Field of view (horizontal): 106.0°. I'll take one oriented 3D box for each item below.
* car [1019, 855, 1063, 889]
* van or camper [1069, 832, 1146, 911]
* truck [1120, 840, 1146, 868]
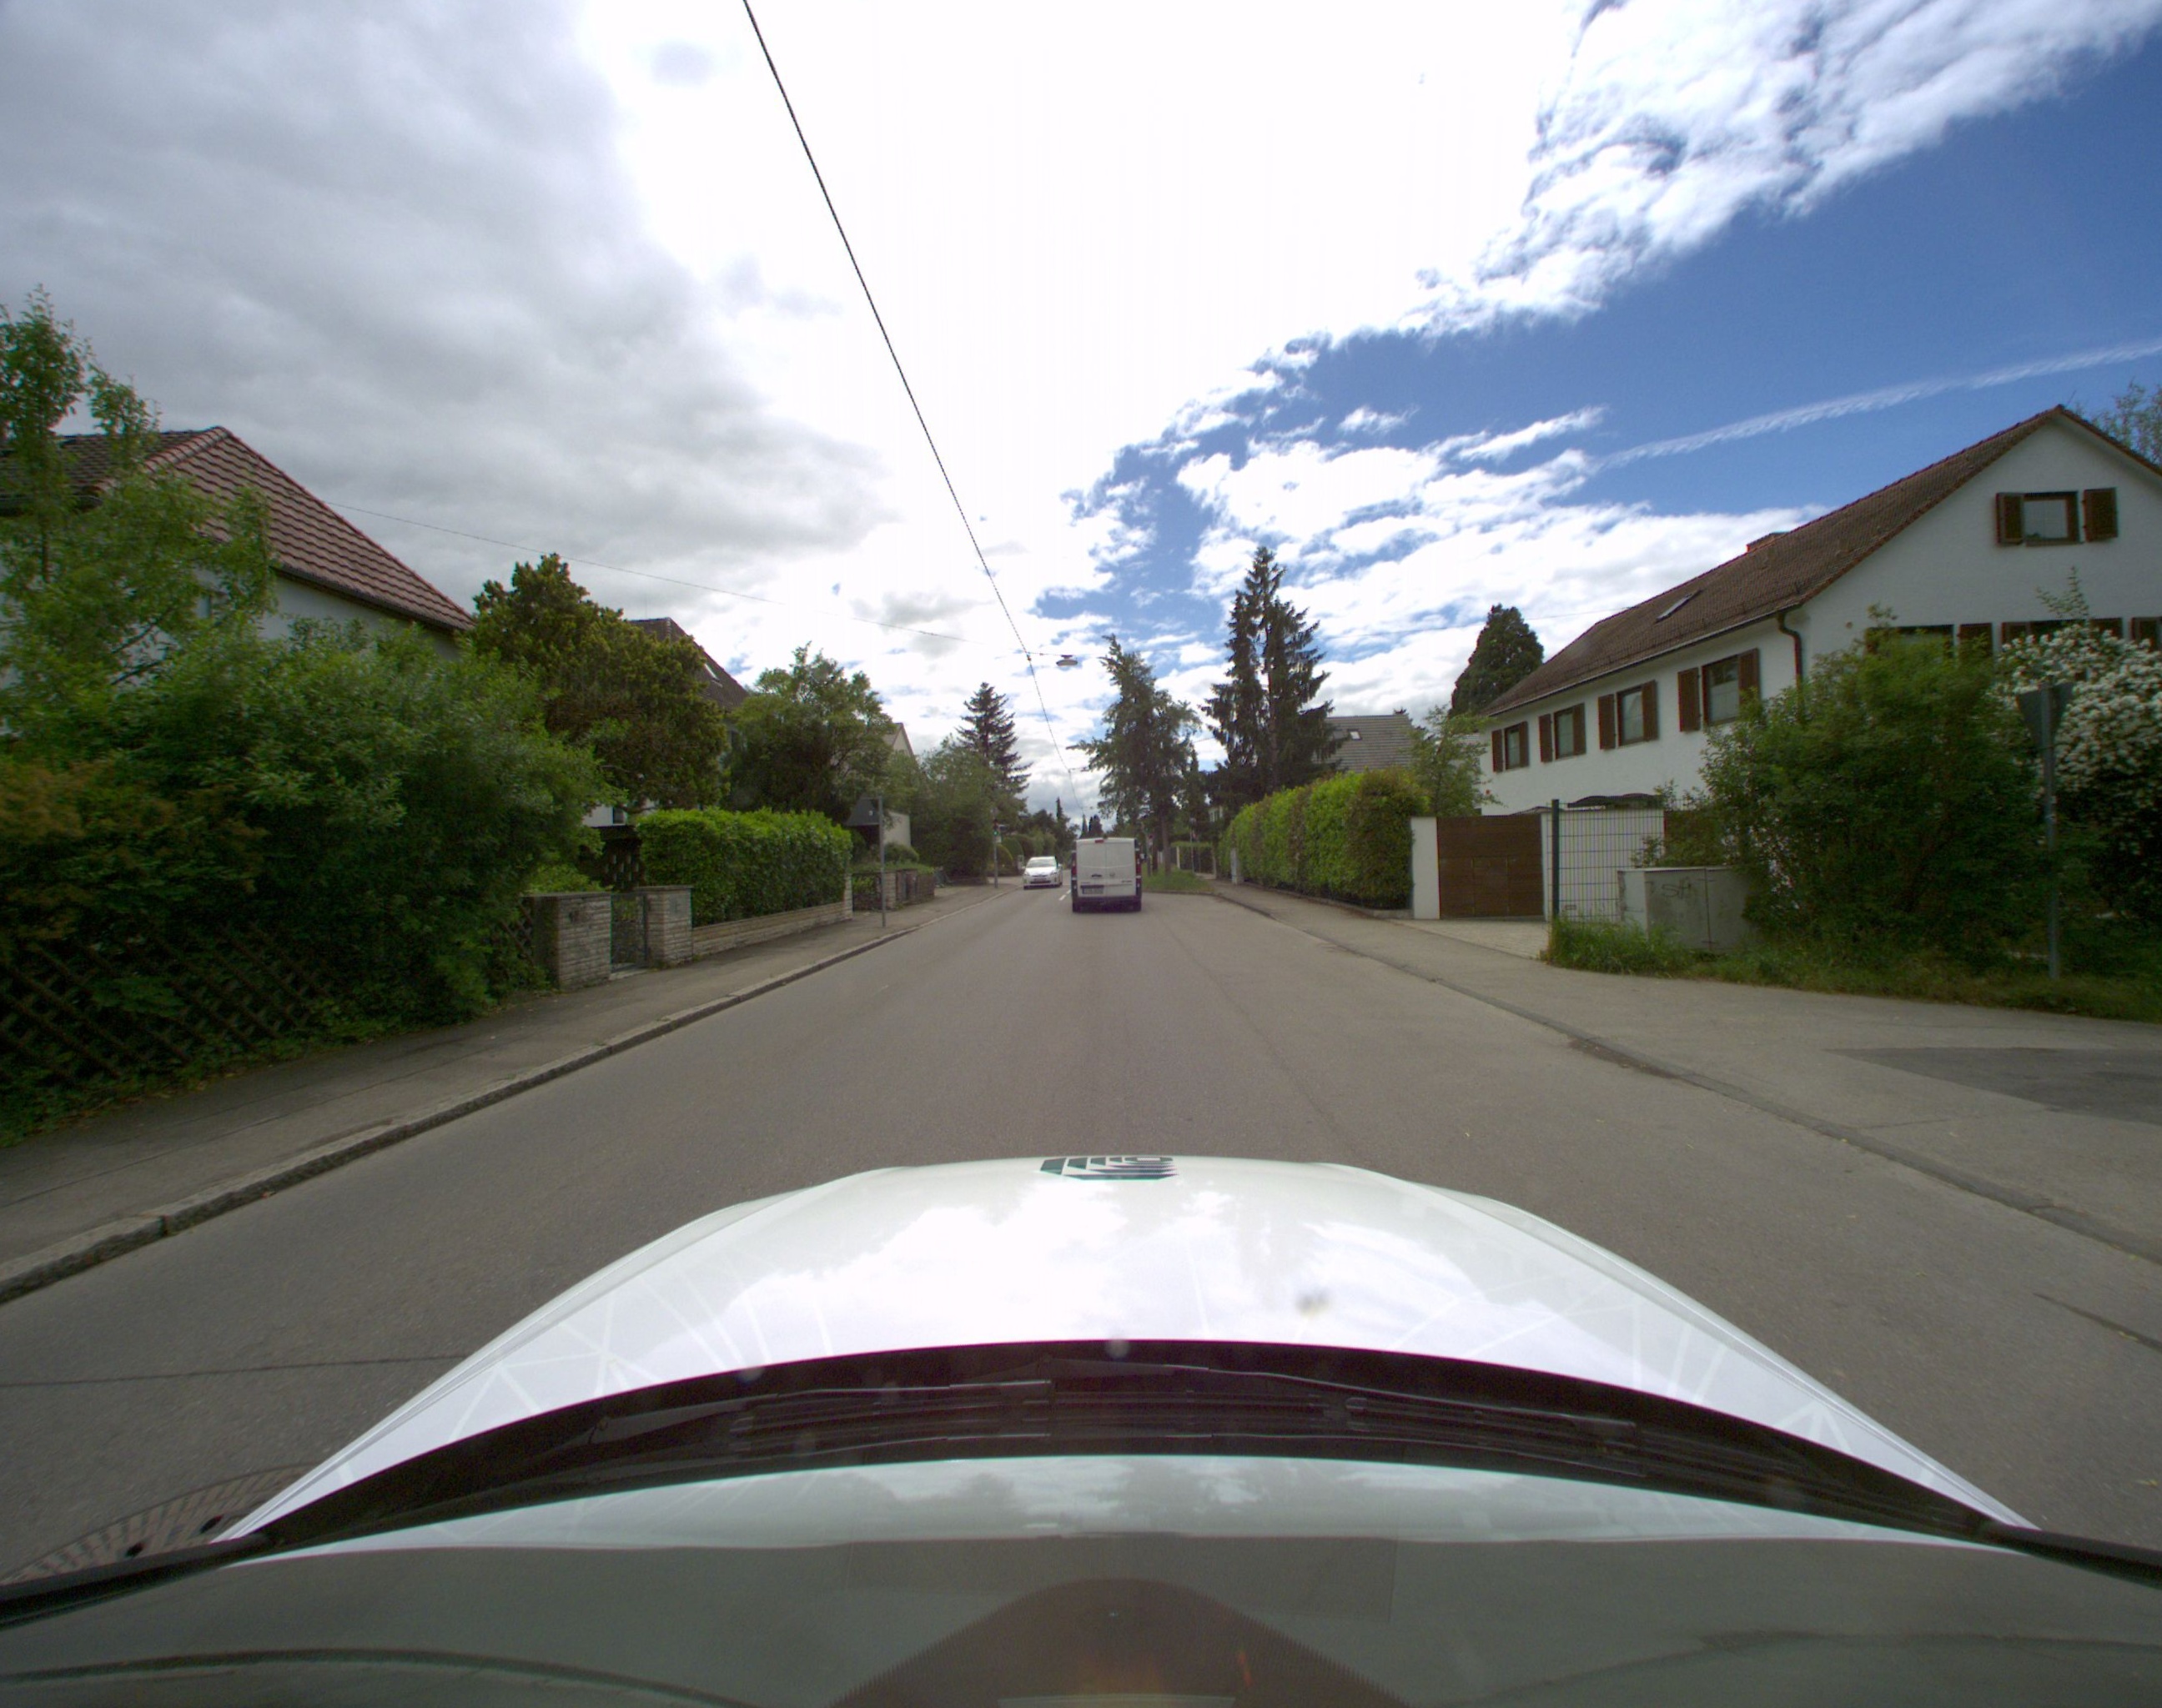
[{"bbox_3d":[-1.902,0.836,40.064,1.848,1.451,4.281,-4,0,0],"label":"car"},{"bbox_3d":[0.720,0.505,23.030,1.932,1.954,4.765,-1,-1,1],"label":"van or camper"},{"bbox_3d":[4.787,0.000,76.091,2.179,2.472,7.433,-1,0,2],"label":"truck"}]
